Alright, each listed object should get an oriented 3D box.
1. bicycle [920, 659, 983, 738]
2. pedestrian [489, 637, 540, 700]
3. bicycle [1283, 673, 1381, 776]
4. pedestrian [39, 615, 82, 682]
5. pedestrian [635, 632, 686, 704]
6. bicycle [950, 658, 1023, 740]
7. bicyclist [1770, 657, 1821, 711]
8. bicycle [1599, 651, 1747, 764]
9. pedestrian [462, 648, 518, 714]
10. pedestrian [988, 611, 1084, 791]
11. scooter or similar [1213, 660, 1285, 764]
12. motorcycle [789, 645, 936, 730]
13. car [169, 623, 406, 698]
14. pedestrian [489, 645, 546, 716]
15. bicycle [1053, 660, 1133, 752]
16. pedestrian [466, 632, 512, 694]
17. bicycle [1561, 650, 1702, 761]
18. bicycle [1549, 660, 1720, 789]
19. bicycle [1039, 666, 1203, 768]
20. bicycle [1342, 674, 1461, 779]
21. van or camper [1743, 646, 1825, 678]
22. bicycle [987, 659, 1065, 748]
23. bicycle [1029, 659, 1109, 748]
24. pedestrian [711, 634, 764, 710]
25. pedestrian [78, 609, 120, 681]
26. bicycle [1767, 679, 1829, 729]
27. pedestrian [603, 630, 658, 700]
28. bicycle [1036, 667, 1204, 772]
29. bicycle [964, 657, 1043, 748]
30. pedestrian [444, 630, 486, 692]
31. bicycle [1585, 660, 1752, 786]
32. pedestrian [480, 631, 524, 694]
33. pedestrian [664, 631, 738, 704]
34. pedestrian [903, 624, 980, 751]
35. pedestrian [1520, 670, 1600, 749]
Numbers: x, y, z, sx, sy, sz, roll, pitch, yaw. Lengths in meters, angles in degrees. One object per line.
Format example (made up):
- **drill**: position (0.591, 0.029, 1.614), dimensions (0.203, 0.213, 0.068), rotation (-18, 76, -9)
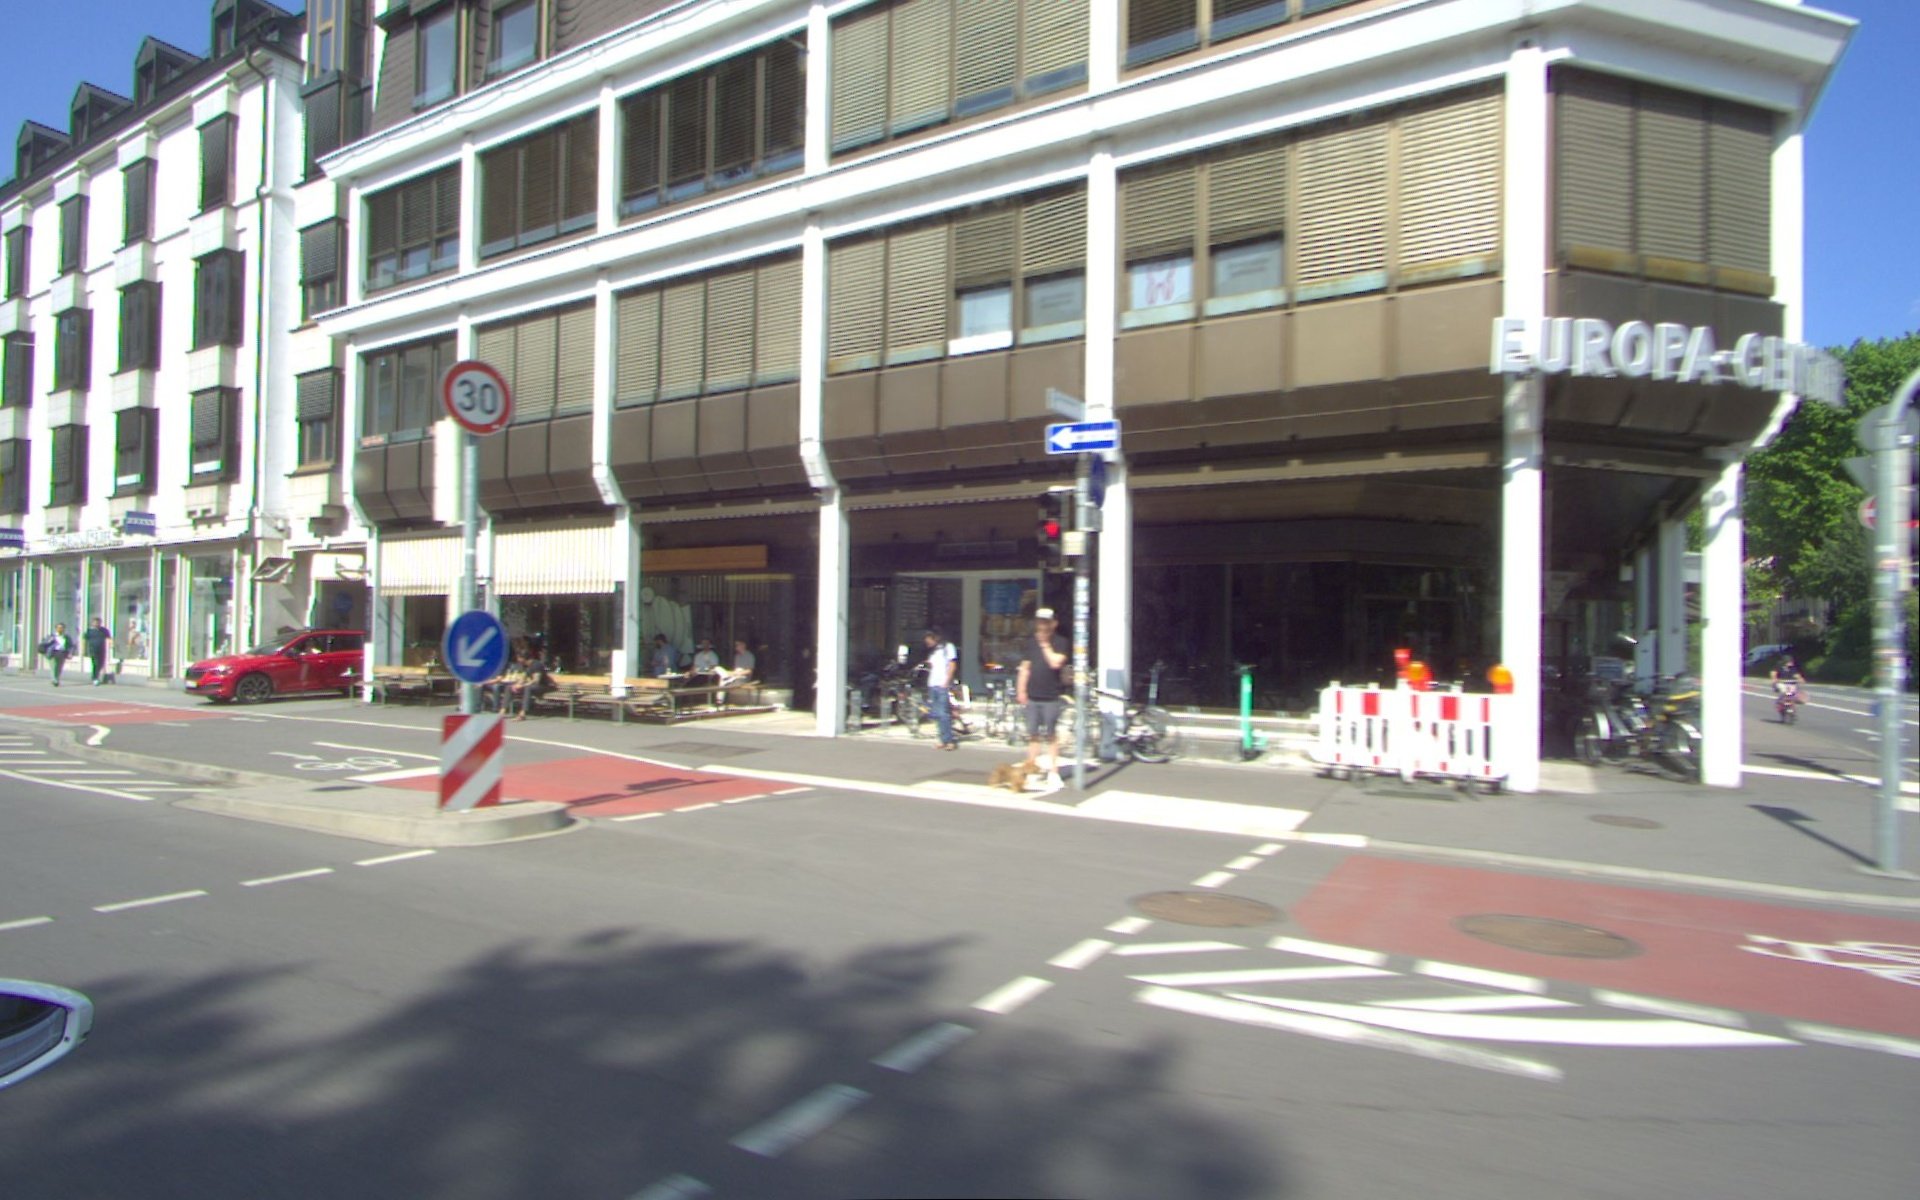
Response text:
- **bicycle**: position (-0.098, 1.479, 15.509), dimensions (0.272, 1.110, 2.241), rotation (1, -2, 17)
- **pedestrian**: position (-10.027, 1.524, 22.547), dimensions (0.529, 1.385, 0.876), rotation (0, -2, 30)
- **bicycle**: position (4.459, 1.468, 12.097), dimensions (0.370, 1.079, 1.470), rotation (0, -1, -12)
- **pedestrian**: position (-23.526, 1.267, 26.184), dimensions (0.825, 1.707, 0.691), rotation (0, -1, 40)
- **pedestrian**: position (-6.024, 1.363, 20.186), dimensions (0.686, 1.414, 0.710), rotation (-1, -2, 30)
- **bicycle**: position (0.440, 1.455, 15.222), dimensions (0.273, 1.134, 2.238), rotation (1, -2, 23)
- **bicyclist**: position (20.848, 2.081, 25.006), dimensions (0.770, 1.325, 0.940), rotation (-1, -2, 29)
- **bicycle**: position (10.313, 1.517, 14.577), dimensions (0.521, 1.441, 1.966), rotation (1, 0, -7)
- **pedestrian**: position (-8.624, 1.474, 18.391), dimensions (0.688, 1.187, 0.708), rotation (-2, -3, 40)
- **pedestrian**: position (0.826, 1.063, 10.855), dimensions (0.688, 1.859, 0.829), rotation (-2, -2, 39)
- **scooter or similar**: position (3.731, 1.402, 12.873), dimensions (0.474, 1.248, 1.242), rotation (0, -2, 37)
- **motorcycle**: position (-1.586, 1.394, 16.436), dimensions (2.212, 1.306, 0.944), rotation (1, -2, -31)
- **car**: position (-14.904, 1.335, 22.405), dimensions (1.816, 1.513, 4.038), rotation (-3, -3, 32)
- **pedestrian**: position (-7.918, 1.426, 17.927), dimensions (0.688, 1.232, 0.708), rotation (-2, -3, 40)
- **bicycle**: position (1.863, 1.432, 13.841), dimensions (0.274, 1.135, 1.711), rotation (0, -1, 37)
- **pedestrian**: position (-10.852, 1.441, 23.093), dimensions (0.575, 1.385, 0.743), rotation (0, -2, 30)
- **bicycle**: position (9.722, 1.490, 14.600), dimensions (0.521, 1.441, 1.966), rotation (1, -1, -7)
- **bicycle**: position (8.048, 1.442, 12.062), dimensions (0.521, 1.334, 1.966), rotation (1, -1, -7)
- **bicycle**: position (2.017, 1.453, 12.817), dimensions (2.216, 1.135, 0.275), rotation (0, -2, 39)
- **bicycle**: position (5.167, 1.450, 11.807), dimensions (0.304, 1.079, 1.466), rotation (0, -1, -23)
- **van or camper**: position (81.017, 6.085, 98.580), dimensions (2.345, 2.940, 5.906), rotation (2, -3, -21)
- **bicycle**: position (0.949, 1.429, 14.083), dimensions (0.274, 1.135, 1.565), rotation (0, -1, 37)
- **bicycle**: position (1.552, 1.423, 14.080), dimensions (0.274, 1.135, 1.711), rotation (0, -1, 37)
- **pedestrian**: position (-4.247, 1.363, 19.114), dimensions (0.686, 1.414, 0.710), rotation (-1, -2, 30)
- **pedestrian**: position (-22.884, 1.186, 26.612), dimensions (0.826, 1.874, 0.691), rotation (-2, -2, 40)
- **bicycle**: position (20.840, 2.564, 24.943), dimensions (0.753, 1.134, 2.114), rotation (-1, -3, 29)
- **pedestrian**: position (-6.768, 1.324, 20.561), dimensions (0.686, 1.414, 0.812), rotation (-1, -2, 29)
- **bicycle**: position (1.947, 1.449, 12.487), dimensions (2.216, 1.135, 0.275), rotation (0, -2, 39)
- **bicycle**: position (0.642, 1.435, 14.277), dimensions (0.274, 1.222, 1.540), rotation (0, -2, 37)
- **pedestrian**: position (-11.255, 1.374, 22.775), dimensions (0.679, 1.385, 0.534), rotation (0, -2, 32)
- **bicycle**: position (8.551, 1.444, 12.191), dimensions (0.521, 1.334, 1.858), rotation (1, -1, -7)
- **pedestrian**: position (-10.420, 1.411, 22.779), dimensions (0.471, 1.385, 0.760), rotation (0, -2, 30)
- **pedestrian**: position (-5.065, 1.313, 19.591), dimensions (1.089, 1.367, 0.895), rotation (-2, -2, 30)
- **pedestrian**: position (-0.254, 1.186, 13.803), dimensions (0.688, 1.684, 0.829), rotation (-2, -2, 39)
- **pedestrian**: position (10.800, 1.955, 18.047), dimensions (0.813, 1.351, 0.972), rotation (1, -2, -5)
